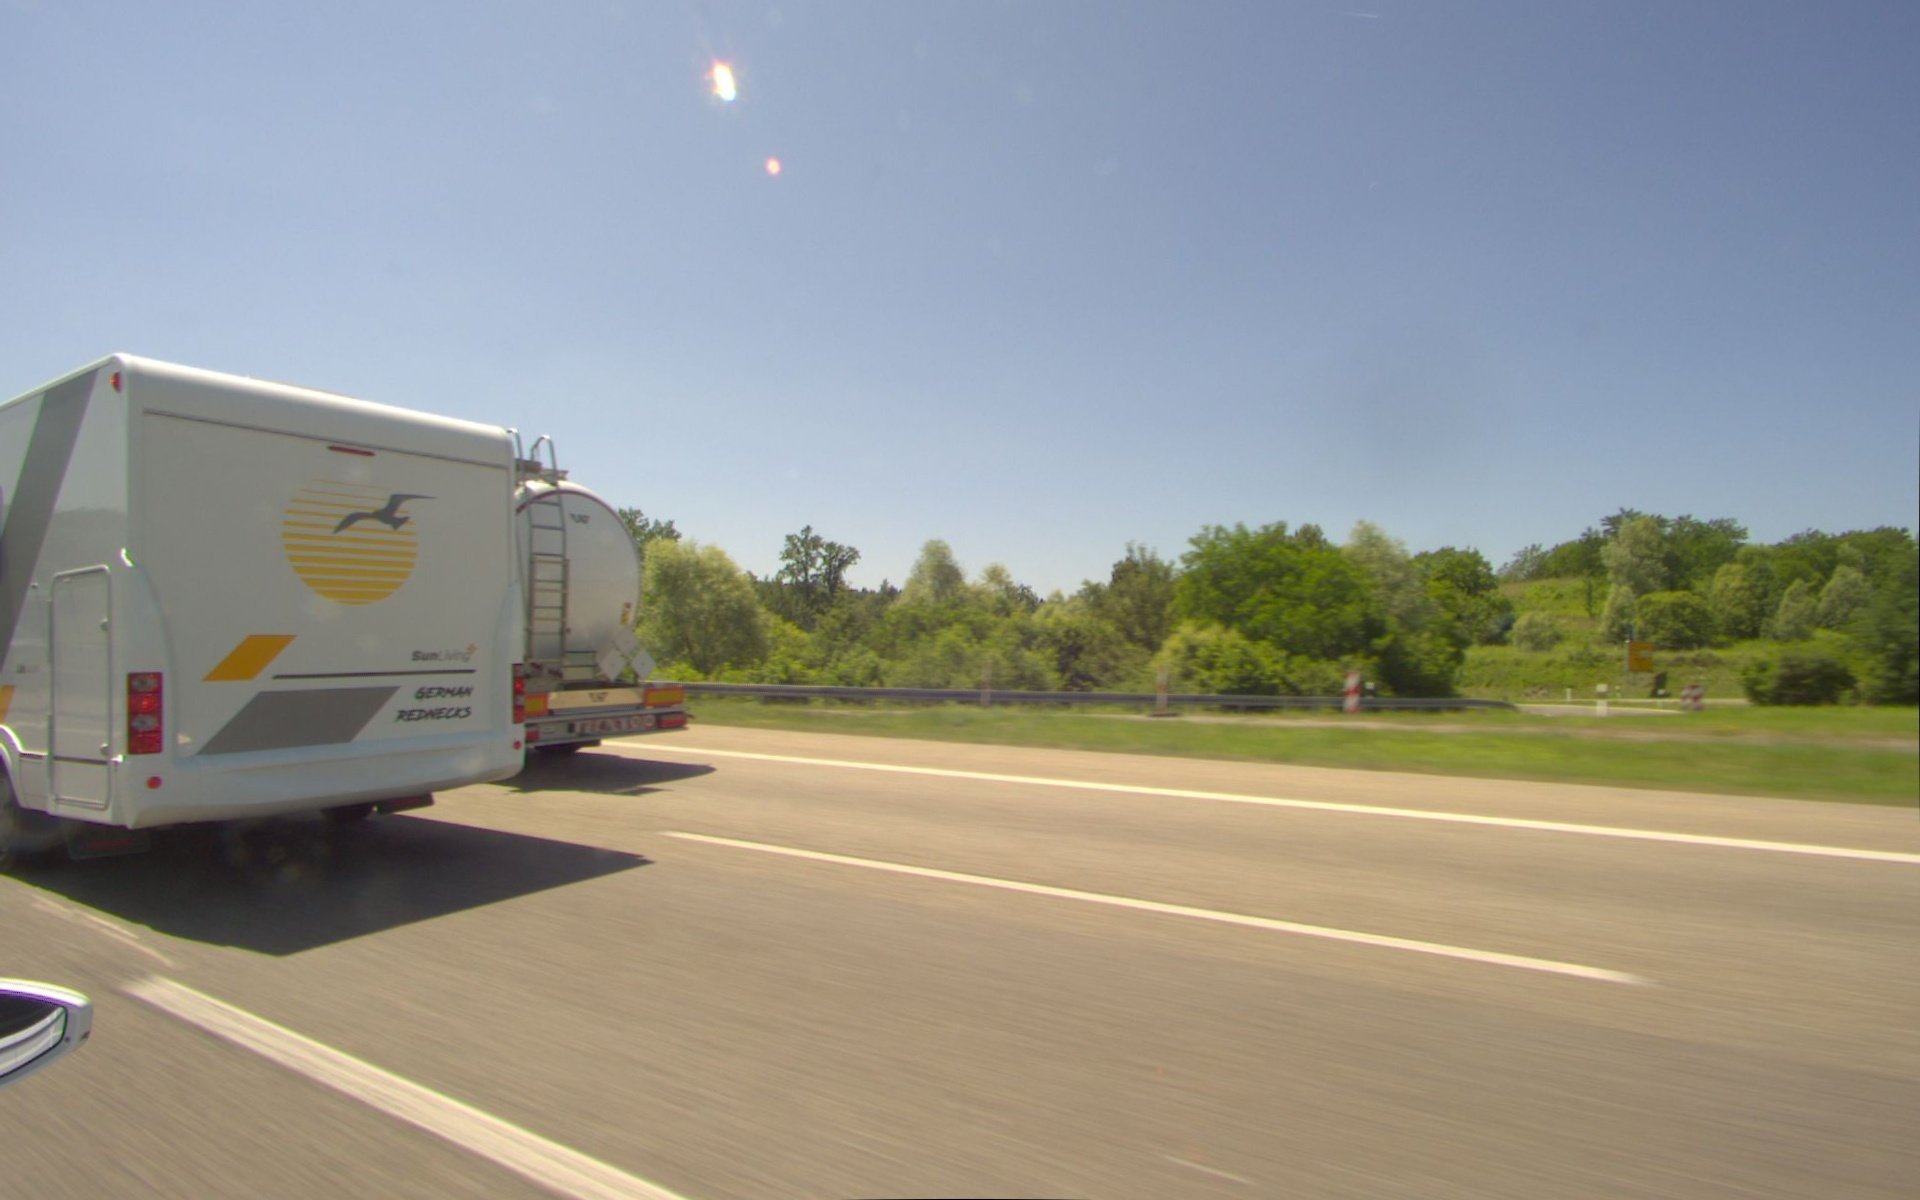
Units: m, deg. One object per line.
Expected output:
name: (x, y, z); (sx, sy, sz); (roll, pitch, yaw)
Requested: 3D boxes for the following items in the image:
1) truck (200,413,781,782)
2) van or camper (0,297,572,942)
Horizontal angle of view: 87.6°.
truck: (-6.536, -0.012, 13.316); (8.402, 3.622, 2.923); (0, -1, 32)
van or camper: (-6.430, 0.183, 7.838); (7.079, 3.118, 2.599); (-1, -2, 32)
